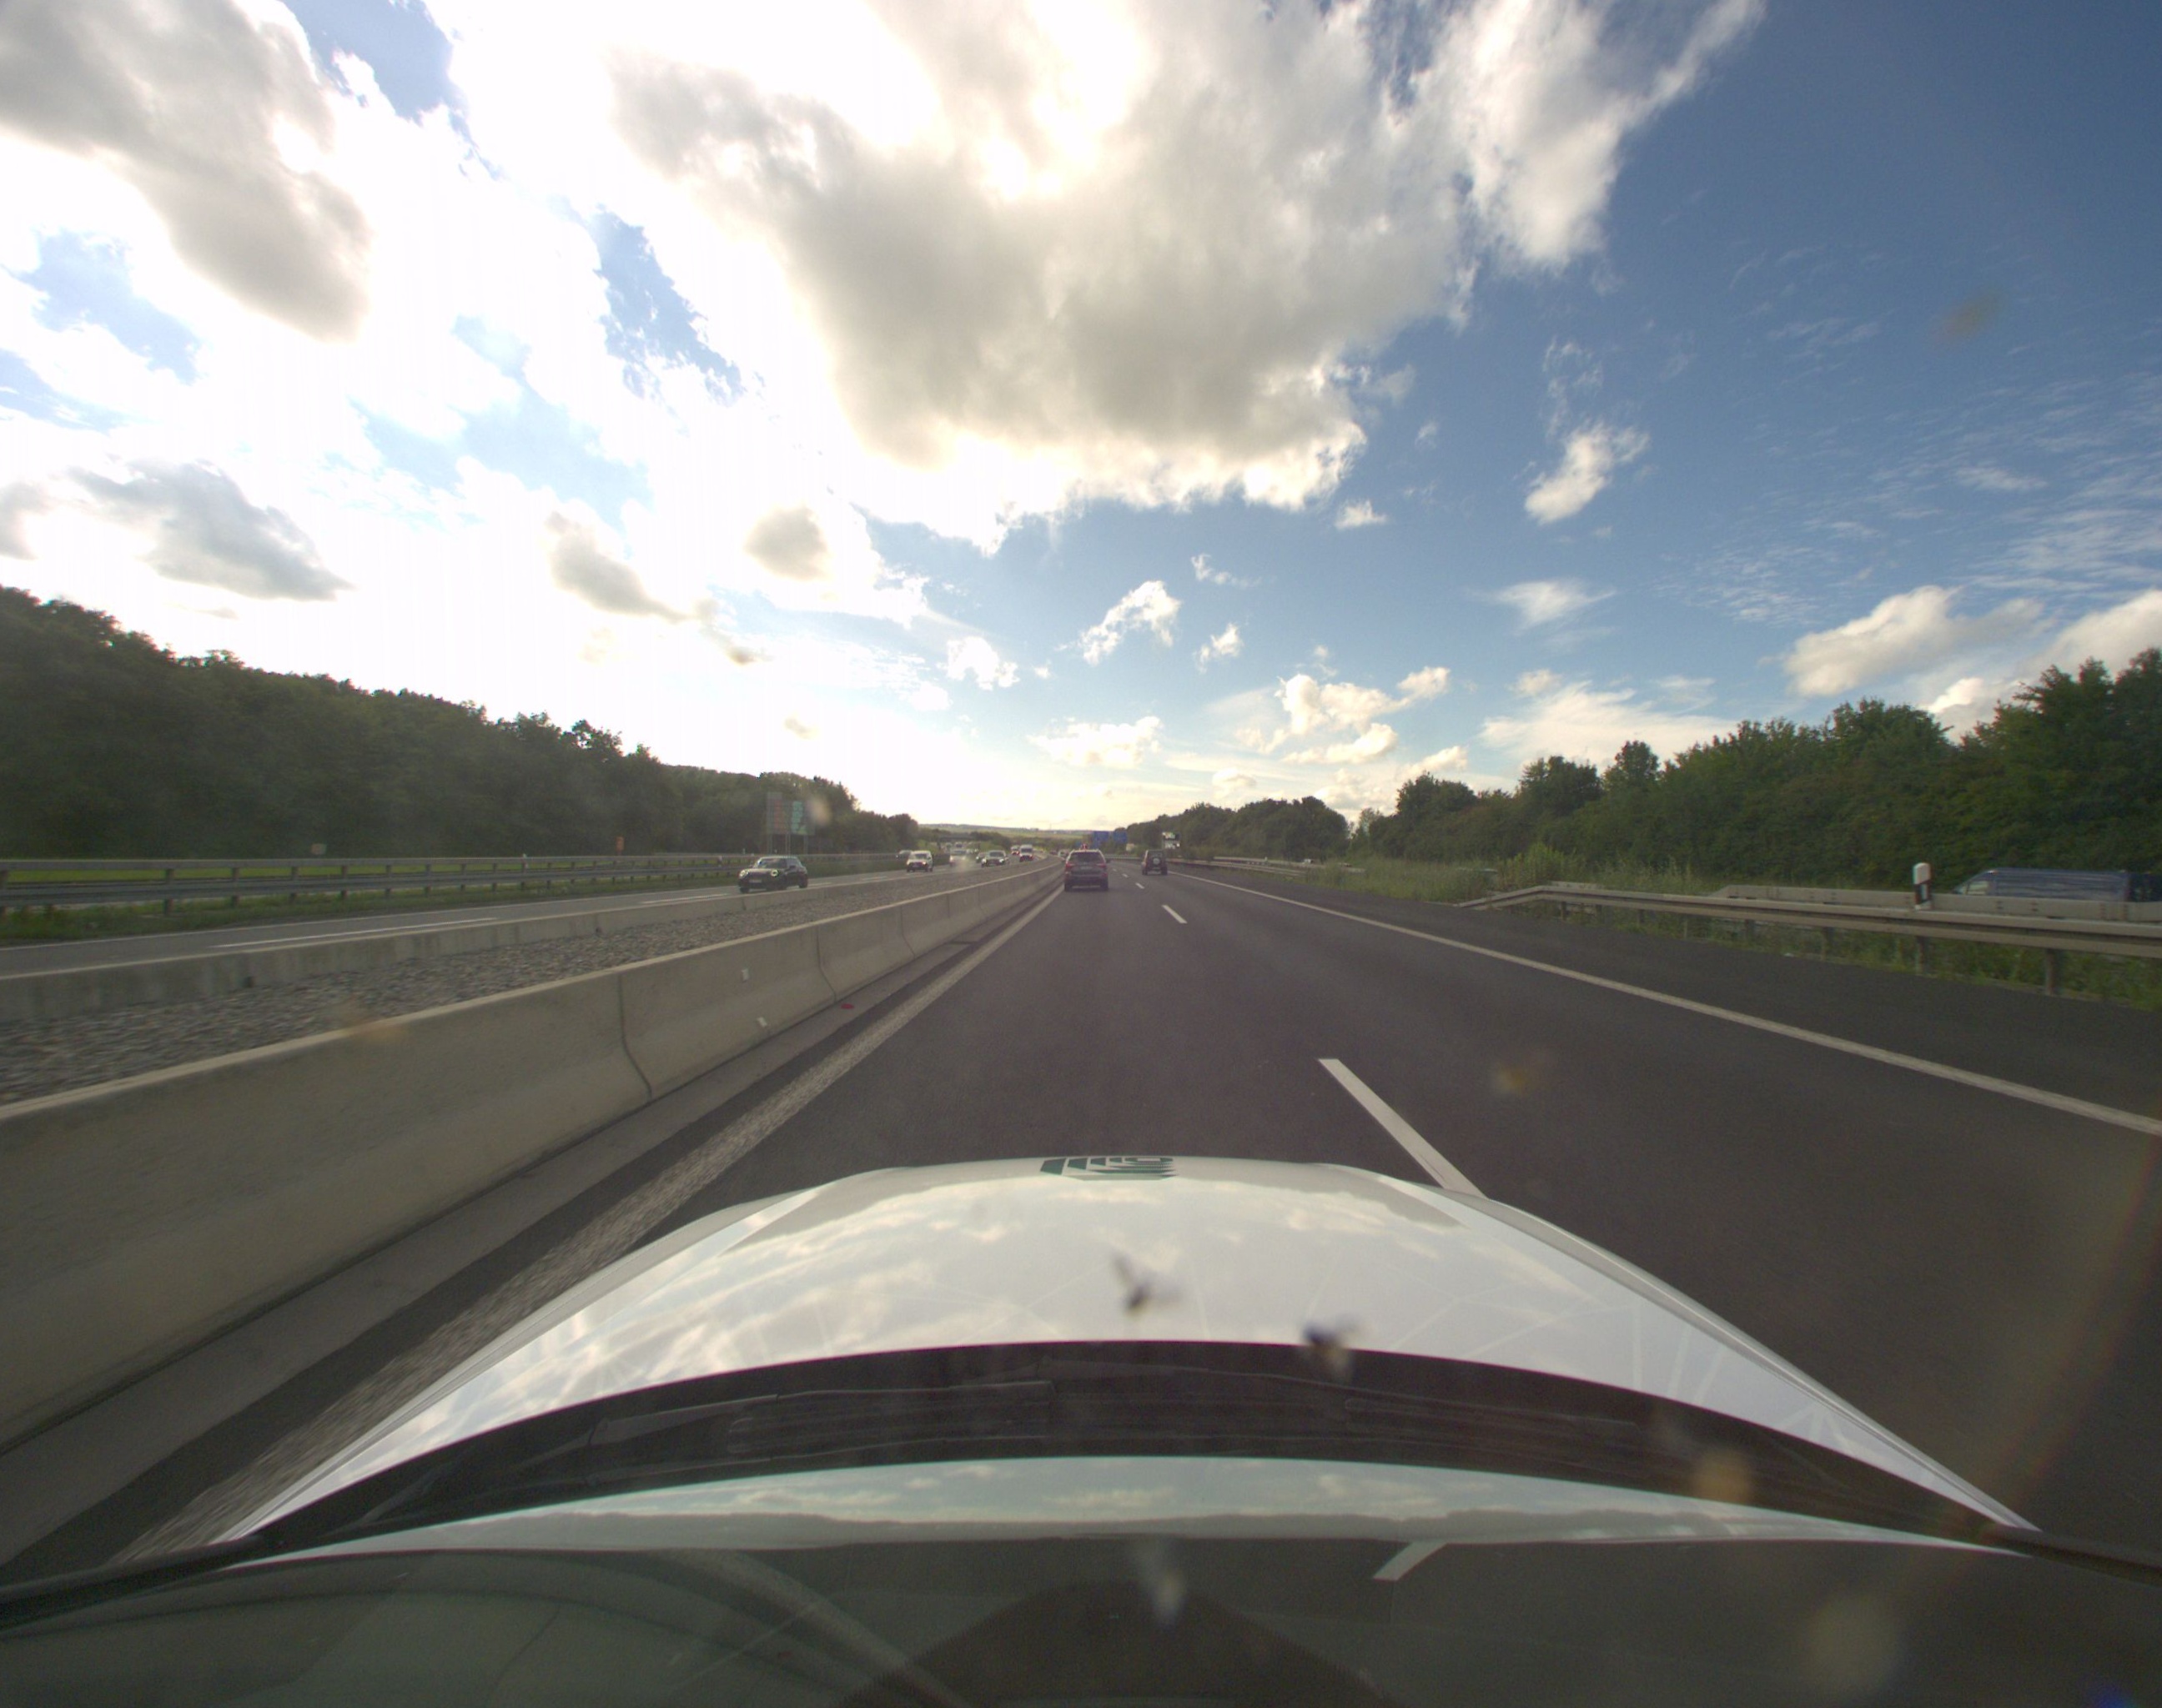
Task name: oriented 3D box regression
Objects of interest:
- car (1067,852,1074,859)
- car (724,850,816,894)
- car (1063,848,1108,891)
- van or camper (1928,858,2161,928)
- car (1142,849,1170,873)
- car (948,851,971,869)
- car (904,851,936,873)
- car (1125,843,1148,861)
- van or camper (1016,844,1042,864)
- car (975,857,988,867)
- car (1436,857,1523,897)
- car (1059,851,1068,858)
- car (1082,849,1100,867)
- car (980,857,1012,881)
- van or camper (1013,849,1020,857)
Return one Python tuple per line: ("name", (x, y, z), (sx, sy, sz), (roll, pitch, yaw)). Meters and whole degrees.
("car", (-3.243, 0.395, 253.406), (1.992, 1.929, 3.990), (0, -2, -7))
("car", (-12.702, 0.699, 33.553), (1.986, 1.691, 4.375), (0, 0, 2))
("car", (0.213, 0.659, 35.708), (1.811, 1.736, 5.186), (0, -1, 0))
("van or camper", (33.931, 1.234, 28.541), (2.188, 2.180, 5.764), (0, 0, -7))
("car", (5.185, 0.449, 56.892), (1.582, 1.597, 4.095), (0, 0, 0))
("car", (-13.636, 0.688, 91.741), (1.909, 1.906, 5.283), (-1, 0, -1))
("car", (-13.834, 0.640, 70.186), (1.987, 1.814, 4.240), (0, 0, 0))
("car", (14.607, -0.521, 215.460), (4.717, 4.266, 11.391), (0, -2, -2))
("van or camper", (-7.886, -0.014, 123.796), (3.324, 2.916, 7.466), (0, 0, 1))
("car", (-14.741, 1.129, 121.145), (1.782, 1.417, 4.985), (0, 0, -6))
("car", (16.814, 0.936, 34.585), (1.778, 1.571, 4.024), (0, 0, 0))
("car", (-4.472, 0.133, 208.318), (1.991, 1.684, 3.992), (0, -2, -6))
("car", (1.242, 0.473, 98.647), (2.023, 2.151, 4.001), (0, 0, 2))
("car", (-7.105, 1.223, 68.574), (1.986, 1.920, 5.151), (0, 0, 2))
("van or camper", (-20.290, -0.255, 258.010), (1.982, 2.624, 6.856), (0, 0, -3))
